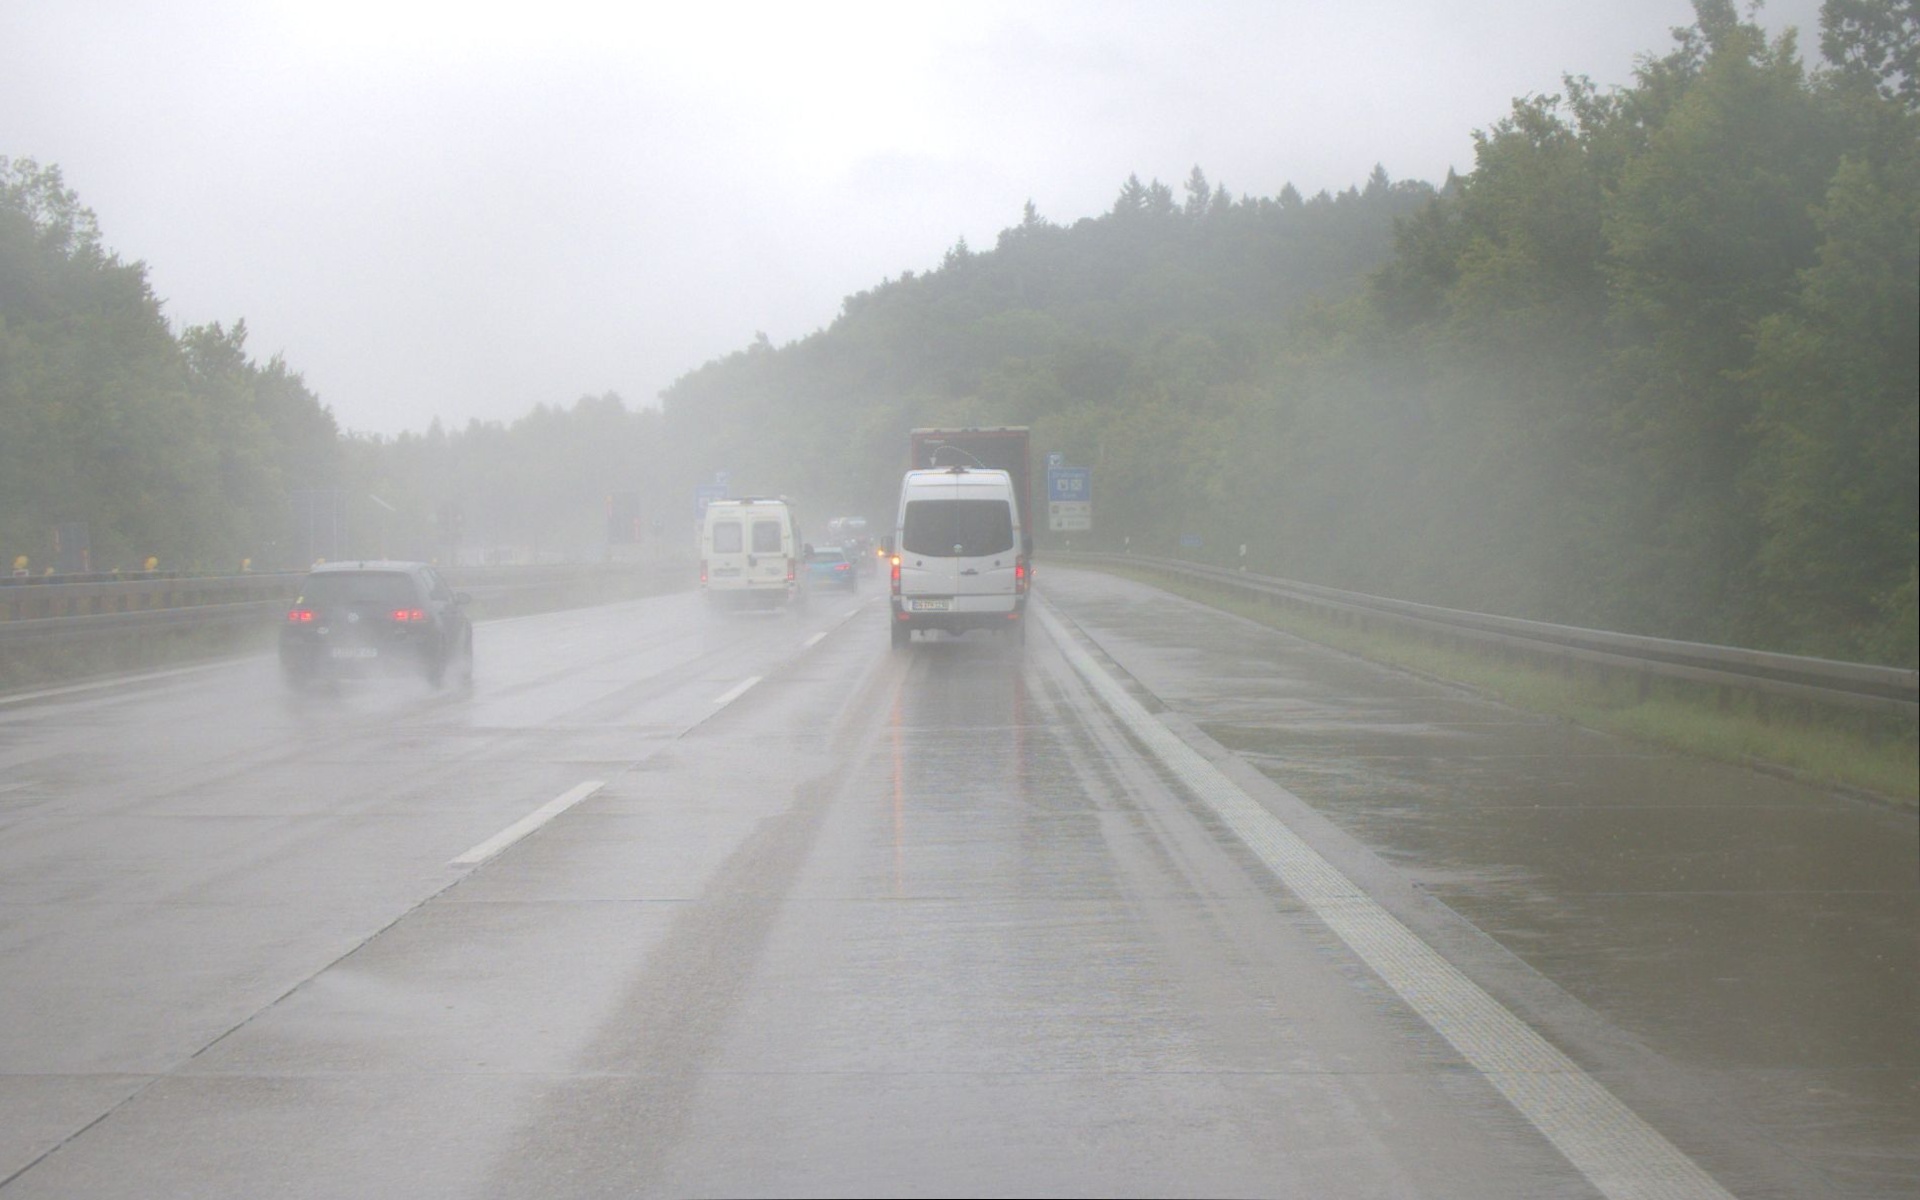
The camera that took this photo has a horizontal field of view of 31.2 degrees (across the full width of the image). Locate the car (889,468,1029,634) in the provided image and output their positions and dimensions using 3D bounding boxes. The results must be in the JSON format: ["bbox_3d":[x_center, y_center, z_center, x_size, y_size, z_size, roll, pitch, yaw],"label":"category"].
[{"bbox_3d":[-0.069,-0.748,51.755,1.899,2.326,5.251,2,1,-2],"label":"car"}]

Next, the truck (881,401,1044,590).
[{"bbox_3d":[0.010,-2.472,78.523,3.385,3.954,8.668,-2,3,-1],"label":"truck"}]

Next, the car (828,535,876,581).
[{"bbox_3d":[-4.403,-1.749,140.581,1.868,1.804,4.189,2,1,-1],"label":"car"}]

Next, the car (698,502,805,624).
[{"bbox_3d":[-4.352,-0.797,72.663,1.997,2.423,5.791,2,1,-2],"label":"car"}]

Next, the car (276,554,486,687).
[{"bbox_3d":[-6.418,0.195,38.506,1.740,1.383,4.322,-1,1,-2],"label":"car"}]

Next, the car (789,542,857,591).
[{"bbox_3d":[-4.053,-0.994,101.238,1.856,1.334,4.352,2,1,-4],"label":"car"}]
